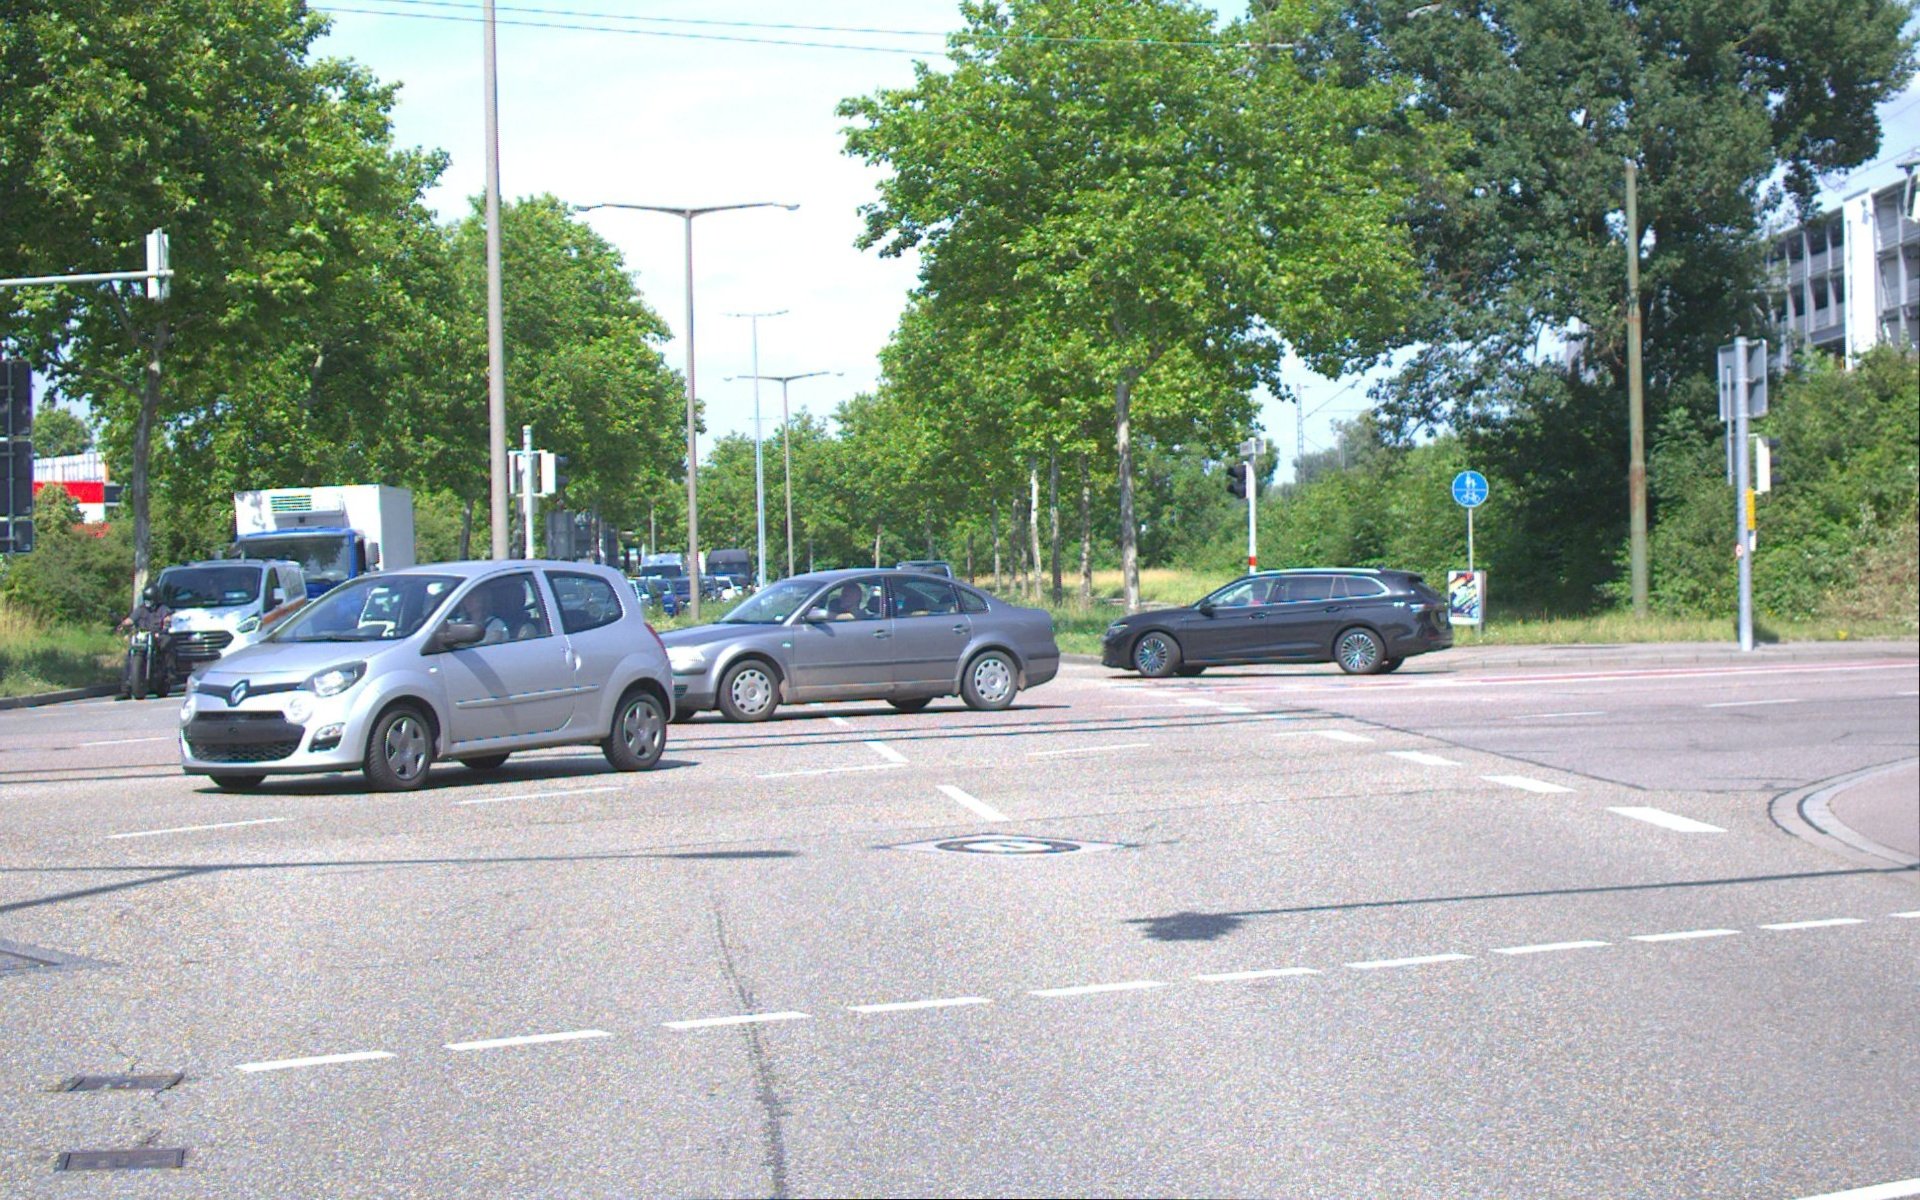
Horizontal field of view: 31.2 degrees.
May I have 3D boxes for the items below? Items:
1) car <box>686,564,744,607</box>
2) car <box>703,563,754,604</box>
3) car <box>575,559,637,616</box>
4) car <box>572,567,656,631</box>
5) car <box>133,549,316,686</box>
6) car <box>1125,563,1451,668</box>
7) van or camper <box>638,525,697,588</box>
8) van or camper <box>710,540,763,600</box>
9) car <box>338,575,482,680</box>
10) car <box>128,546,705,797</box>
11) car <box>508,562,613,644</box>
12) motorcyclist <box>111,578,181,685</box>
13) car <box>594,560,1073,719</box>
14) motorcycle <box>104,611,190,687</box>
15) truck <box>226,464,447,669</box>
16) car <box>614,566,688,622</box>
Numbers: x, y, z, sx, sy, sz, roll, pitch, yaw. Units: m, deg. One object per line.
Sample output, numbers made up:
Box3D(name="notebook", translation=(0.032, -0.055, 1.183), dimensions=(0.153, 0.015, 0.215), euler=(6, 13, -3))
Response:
Box3D(name="car", translation=(-8.899, -0.543, 125.211), dimensions=(1.783, 1.454, 4.472), euler=(-2, 1, -1))
Box3D(name="car", translation=(-8.867, -0.650, 131.999), dimensions=(1.689, 1.505, 3.815), euler=(-2, 1, -1))
Box3D(name="car", translation=(-12.222, -0.437, 118.921), dimensions=(1.689, 1.852, 4.036), euler=(-2, 0, -1))
Box3D(name="car", translation=(-8.521, -0.054, 84.888), dimensions=(1.689, 1.467, 3.815), euler=(-2, 1, -1))
Box3D(name="car", translation=(-11.343, 0.219, 53.340), dimensions=(1.976, 1.992, 5.032), euler=(-1, 1, -3))
Box3D(name="car", translation=(4.564, 0.208, 47.653), dimensions=(4.253, 1.386, 1.839), euler=(-1, 1, 14))
Box3D(name="van or camper", translation=(-12.560, -1.863, 147.891), dimensions=(2.015, 2.579, 5.517), euler=(-2, 1, -1))
Box3D(name="van or camper", translation=(-9.129, -1.195, 140.725), dimensions=(1.938, 2.360, 5.398), euler=(-2, 0, -2))
Box3D(name="car", translation=(-8.383, 0.392, 52.661), dimensions=(1.593, 1.472, 3.729), euler=(-2, 1, -1))
Box3D(name="car", translation=(-3.560, 0.415, 23.061), dimensions=(1.652, 1.509, 3.728), euler=(0, 1, 36))
Box3D(name="car", translation=(-8.336, 0.035, 71.976), dimensions=(1.689, 1.581, 4.240), euler=(-2, 1, -1))
Box3D(name="motorcyclist", translation=(-11.420, 0.430, 48.263), dimensions=(0.743, 1.465, 0.987), euler=(-1, 1, -1))
Box3D(name="car", translation=(-1.199, 0.349, 33.608), dimensions=(4.448, 1.407, 1.639), euler=(-1, 1, -33))
Box3D(name="motorcycle", translation=(-11.383, 0.675, 48.172), dimensions=(0.688, 0.988, 2.217), euler=(-1, 1, -1))
Box3D(name="truck", translation=(-11.419, -0.655, 63.577), dimensions=(2.804, 3.459, 6.692), euler=(-3, 1, -1))
Box3D(name="car", translation=(-8.749, -0.183, 97.583), dimensions=(1.784, 1.484, 4.212), euler=(-2, 1, -2))
